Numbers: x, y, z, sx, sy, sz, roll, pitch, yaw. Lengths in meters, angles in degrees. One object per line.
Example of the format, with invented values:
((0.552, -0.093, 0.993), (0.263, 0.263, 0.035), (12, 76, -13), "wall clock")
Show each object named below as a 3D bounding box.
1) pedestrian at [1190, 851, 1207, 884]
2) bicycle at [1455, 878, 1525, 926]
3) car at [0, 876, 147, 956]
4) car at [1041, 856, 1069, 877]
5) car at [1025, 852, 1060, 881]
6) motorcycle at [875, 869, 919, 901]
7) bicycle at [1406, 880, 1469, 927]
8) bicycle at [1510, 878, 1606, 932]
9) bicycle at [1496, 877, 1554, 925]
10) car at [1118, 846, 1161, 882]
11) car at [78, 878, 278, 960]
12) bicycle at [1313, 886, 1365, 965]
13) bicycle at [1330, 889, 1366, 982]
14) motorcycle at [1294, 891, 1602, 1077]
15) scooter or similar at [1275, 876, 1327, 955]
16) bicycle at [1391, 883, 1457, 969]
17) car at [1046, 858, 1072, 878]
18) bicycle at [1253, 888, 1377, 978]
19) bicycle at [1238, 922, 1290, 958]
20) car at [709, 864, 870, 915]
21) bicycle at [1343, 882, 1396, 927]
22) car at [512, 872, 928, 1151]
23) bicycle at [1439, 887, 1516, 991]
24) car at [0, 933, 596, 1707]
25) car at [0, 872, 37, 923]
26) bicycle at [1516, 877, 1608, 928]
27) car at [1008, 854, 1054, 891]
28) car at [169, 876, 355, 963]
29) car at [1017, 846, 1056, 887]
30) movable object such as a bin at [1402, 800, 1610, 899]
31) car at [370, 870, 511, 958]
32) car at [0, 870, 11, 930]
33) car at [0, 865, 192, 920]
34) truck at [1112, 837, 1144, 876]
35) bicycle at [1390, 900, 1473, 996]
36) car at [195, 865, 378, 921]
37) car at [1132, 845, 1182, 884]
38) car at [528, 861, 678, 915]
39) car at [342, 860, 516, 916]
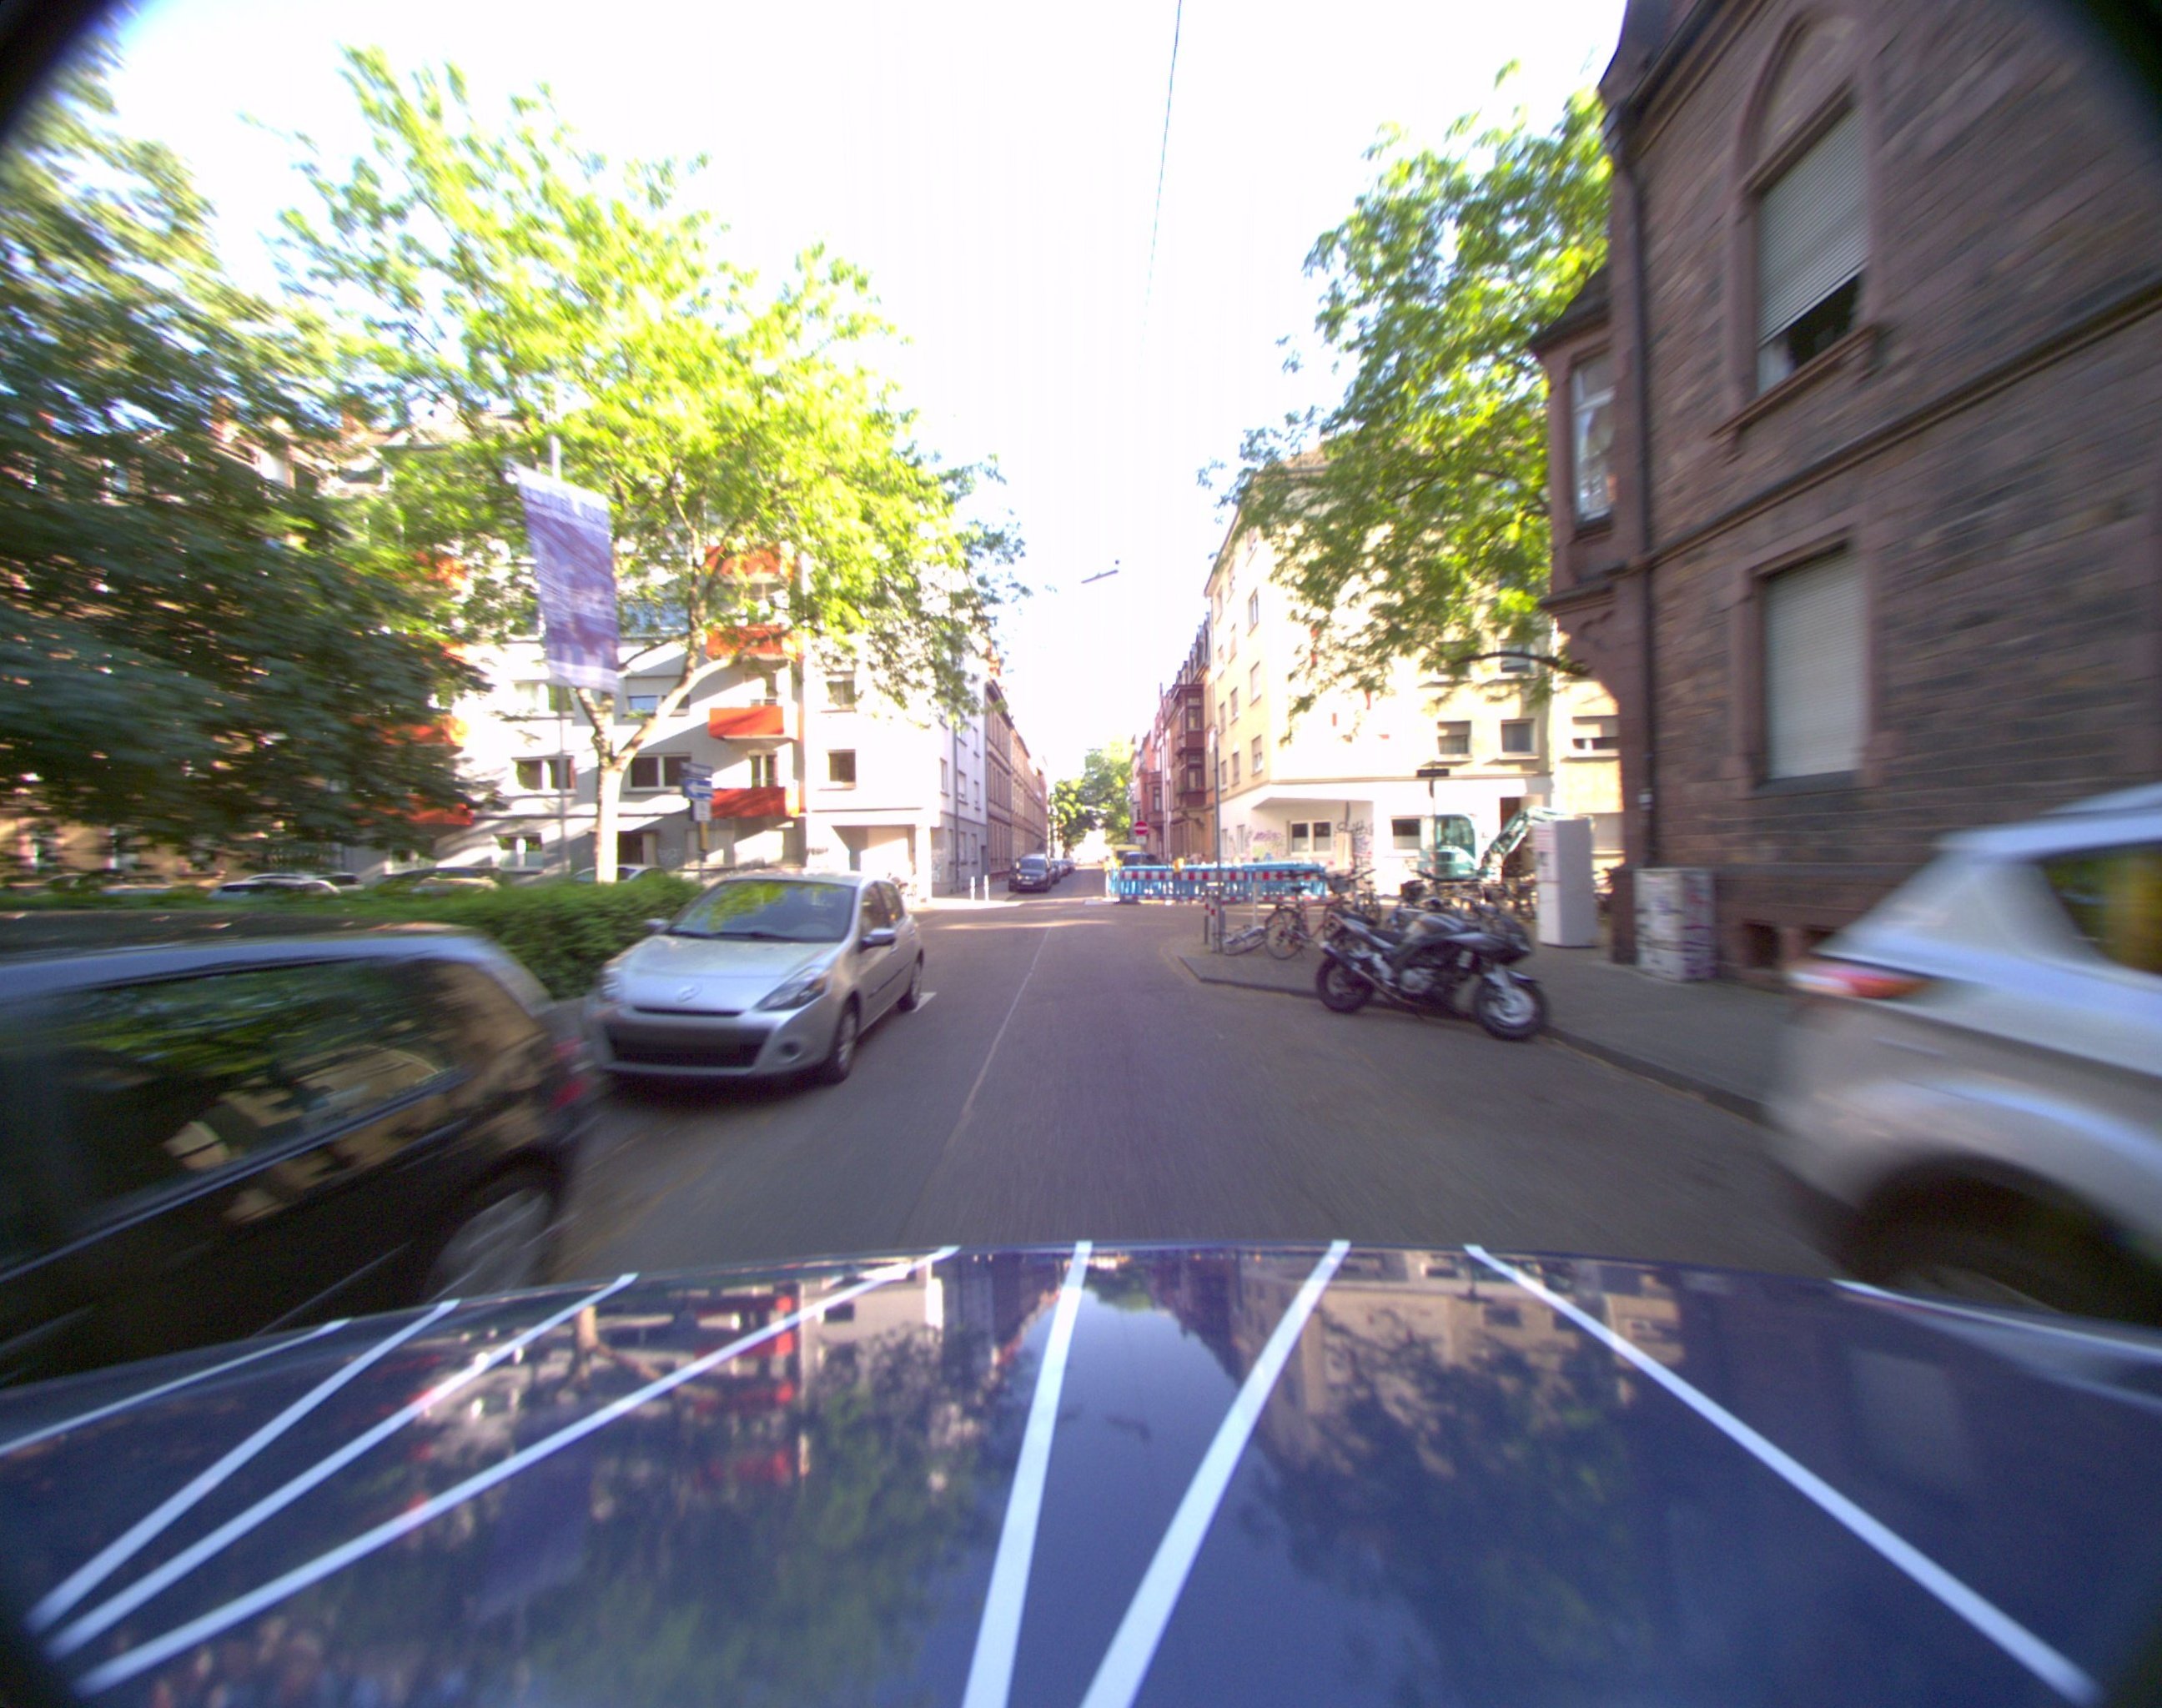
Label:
((5.749, 0.669, 37.276), (0.670, 1.585, 0.597), (-1, 0, -3), "pedestrian")
((8.437, 0.973, 15.759), (0.492, 0.920, 1.758), (-2, -2, 1), "bicycle")
((-22.837, 1.304, 16.637), (1.785, 1.423, 4.404), (-3, 2, -34), "car")
((-2.077, 0.999, 62.734), (1.998, 1.659, 4.001), (-1, 0, 2), "car")
((-2.379, 0.748, 46.431), (1.999, 1.659, 3.998), (-1, 0, -4), "car")
((-6.791, 1.141, 28.139), (1.472, 1.111, 0.908), (-1, 0, -6), "motorcycle")
((7.484, 1.015, 16.028), (0.492, 0.920, 1.758), (-2, -2, 1), "bicycle")
((8.607, 0.923, 13.752), (1.423, 0.920, 0.312), (-2, -1, 12), "bicycle")
((9.108, 0.947, 15.639), (0.491, 0.920, 1.759), (-2, -2, 13), "bicycle")
((3.139, 0.521, 41.242), (1.805, 1.841, 3.999), (-1, 0, -3), "car")
((-20.431, 1.362, 17.457), (1.785, 1.423, 4.404), (-3, 2, -34), "car")
((3.614, 0.971, 10.699), (0.234, 1.036, 1.198), (-2, -2, -3), "bicycle")
((3.311, 0.978, 9.468), (0.233, 1.036, 1.199), (-2, 0, 11), "bicycle")
((3.092, 1.004, 6.647), (0.703, 1.244, 2.320), (-1, 1, -44), "motorcycle")
((3.429, 0.941, 11.914), (0.446, 1.167, 1.165), (-2, -2, 1), "scooter or similar")
((4.517, 0.916, 10.086), (0.233, 1.036, 1.452), (-2, -2, 2), "bicycle")
((-1.871, 1.245, 66.949), (1.998, 1.659, 4.001), (-1, 0, 2), "car")
((3.041, 1.000, 10.021), (0.234, 1.037, 1.679), (-4, 2, -39), "bicycle")
((2.807, 1.320, 11.746), (0.451, 0.440, 1.198), (-2, -2, -3), "bicycle")
((-9.211, 1.104, 24.294), (4.412, 1.423, 1.782), (-1, 1, 0), "car")
((6.315, 1.078, 16.710), (0.492, 0.920, 1.758), (-2, -2, 1), "bicycle")
((-2.514, 0.986, 6.414), (1.713, 1.511, 3.831), (0, 1, -1), "car")
((4.535, 0.934, 8.741), (0.233, 1.036, 1.296), (-2, 1, 2), "bicycle")
((-2.636, 1.040, 0.869), (1.625, 1.428, 4.002), (0, 1, -1), "car")
((-36.860, 1.464, 24.473), (4.000, 1.571, 1.649), (-1, 3, 0), "car")
((9.067, 0.916, 14.362), (1.423, 0.920, 0.312), (-2, -1, 12), "bicycle")
((-2.305, 0.835, 35.759), (1.845, 1.643, 4.000), (0, 0, 1), "car")
((-17.689, 1.307, 16.672), (1.785, 1.423, 4.404), (-3, 2, -34), "car")
((-2.436, 0.644, 41.421), (1.999, 2.052, 3.998), (-1, 0, -4), "car")
((12.766, -0.160, 23.097), (5.149, 2.733, 2.000), (-2, 3, 5), "movable object such as a bin")
((-13.305, 1.144, 16.048), (1.785, 1.423, 4.404), (-3, 2, -34), "car")
((-25.588, 1.138, 16.178), (1.785, 1.423, 4.404), (-3, 2, -34), "car")
((-31.744, 1.208, 24.522), (4.000, 1.571, 1.649), (-1, 3, 0), "car")
((3.309, 0.150, 54.257), (1.971, 2.643, 5.885), (0, 0, 1), "truck")
((3.986, 1.034, 8.723), (0.234, 0.901, 1.421), (-3, 1, -1), "bicycle")
((-25.397, 1.221, 24.390), (4.000, 1.571, 1.649), (-1, 3, 0), "car")
((3.516, 0.492, 35.861), (1.776, 1.695, 3.999), (-1, 0, -3), "car")
((-15.269, 1.062, 24.428), (3.695, 1.550, 1.649), (-1, 3, 0), "car")
((-20.798, 1.061, 24.346), (4.036, 1.608, 1.649), (-1, 3, 0), "car")
